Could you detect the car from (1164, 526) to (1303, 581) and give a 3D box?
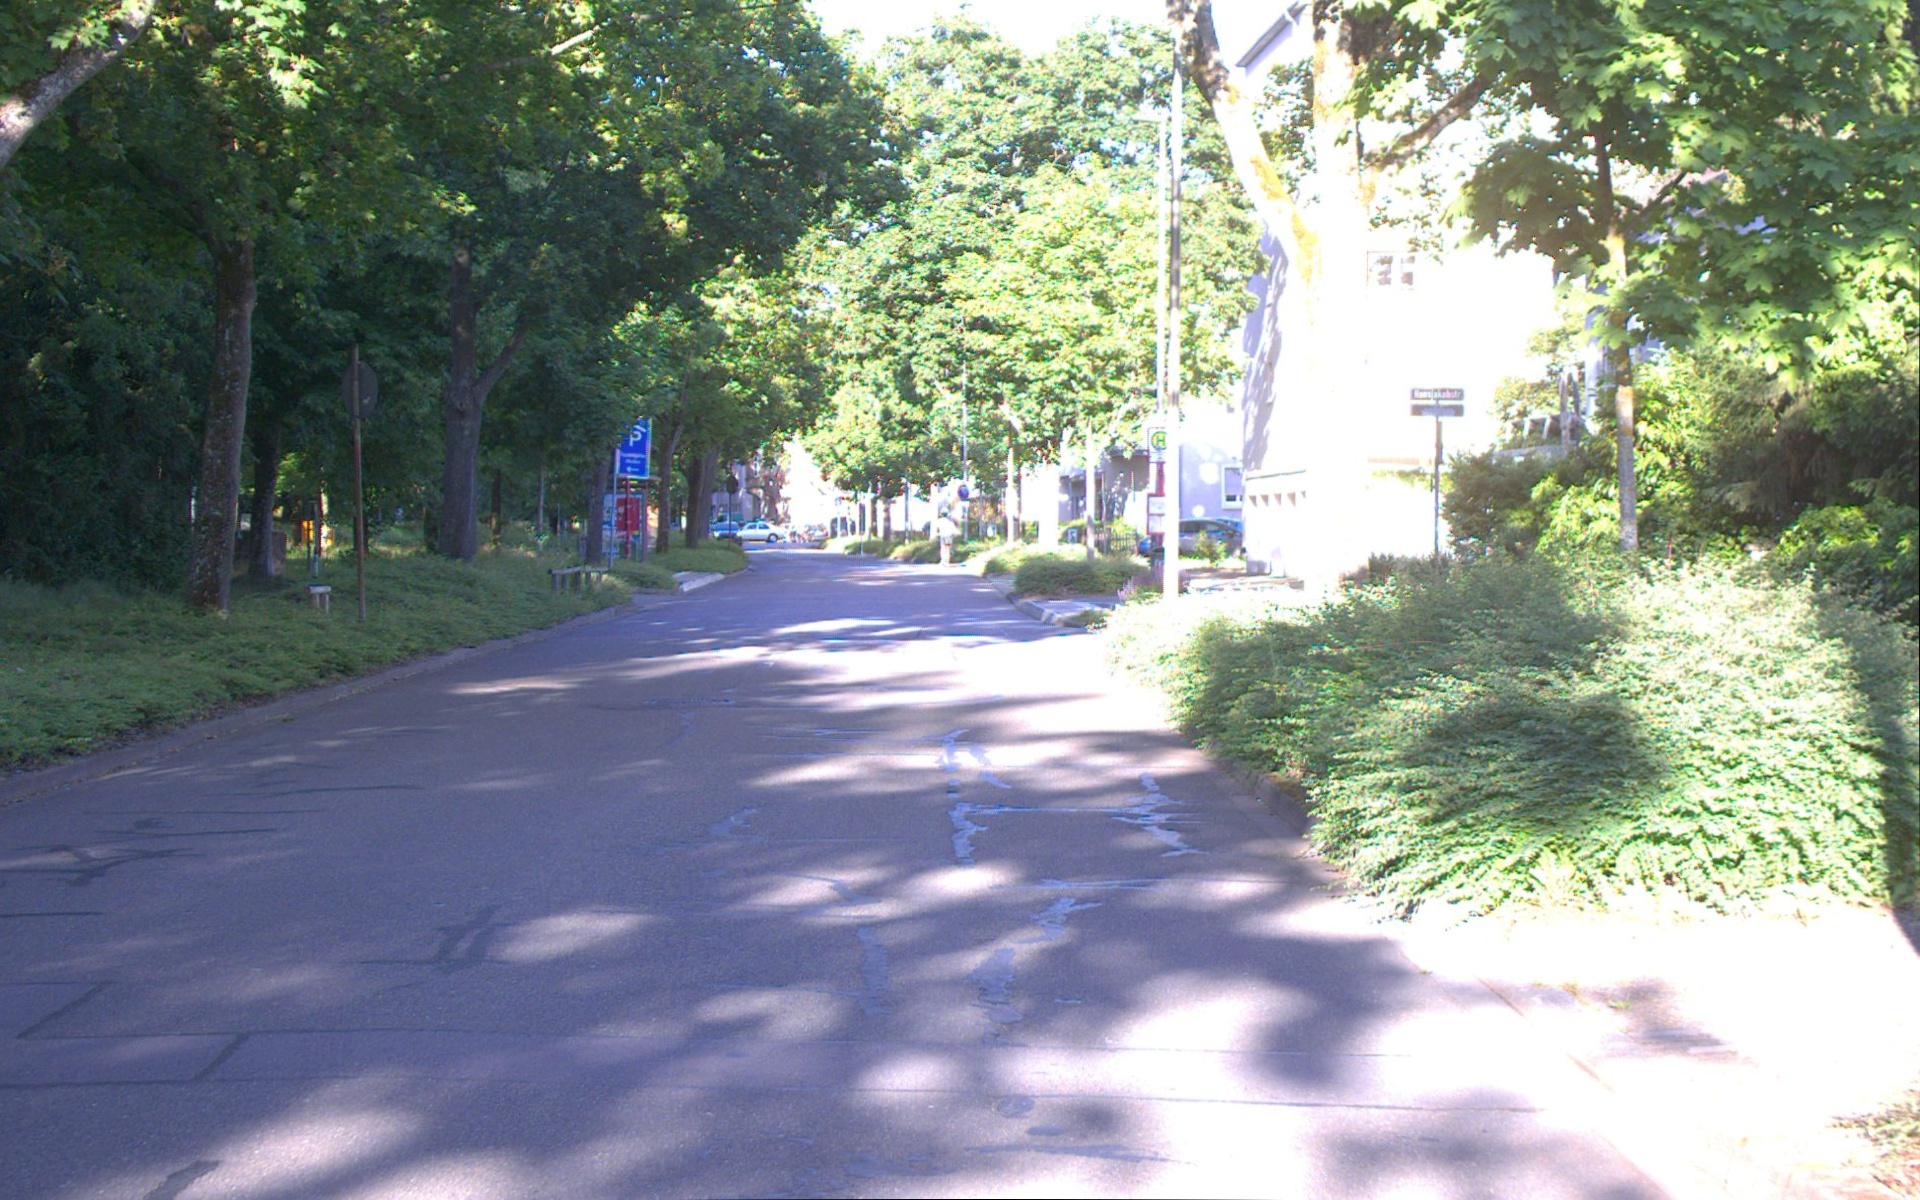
[{"bbox_3d":[8.823,-1.514,110.852,4.351,1.349,2.143,4,5,5],"label":"car"}]

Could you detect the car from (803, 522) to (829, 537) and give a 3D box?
[{"bbox_3d":[-10.503,-5.133,250.644,1.838,0.988,3.820,2,1,-2],"label":"car"}]

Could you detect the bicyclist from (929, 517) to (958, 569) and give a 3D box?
[{"bbox_3d":[-0.536,-1.838,110.532,0.867,1.635,1.115,2,2,-1],"label":"bicyclist"}]

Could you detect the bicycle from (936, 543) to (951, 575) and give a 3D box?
[{"bbox_3d":[-0.531,-1.315,110.517,0.439,0.975,1.661,0,2,-1],"label":"bicycle"}]

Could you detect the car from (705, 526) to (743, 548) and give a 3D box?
[{"bbox_3d":[-15.068,-4.034,219.574,1.993,1.349,3.542,2,1,-10],"label":"car"}]
